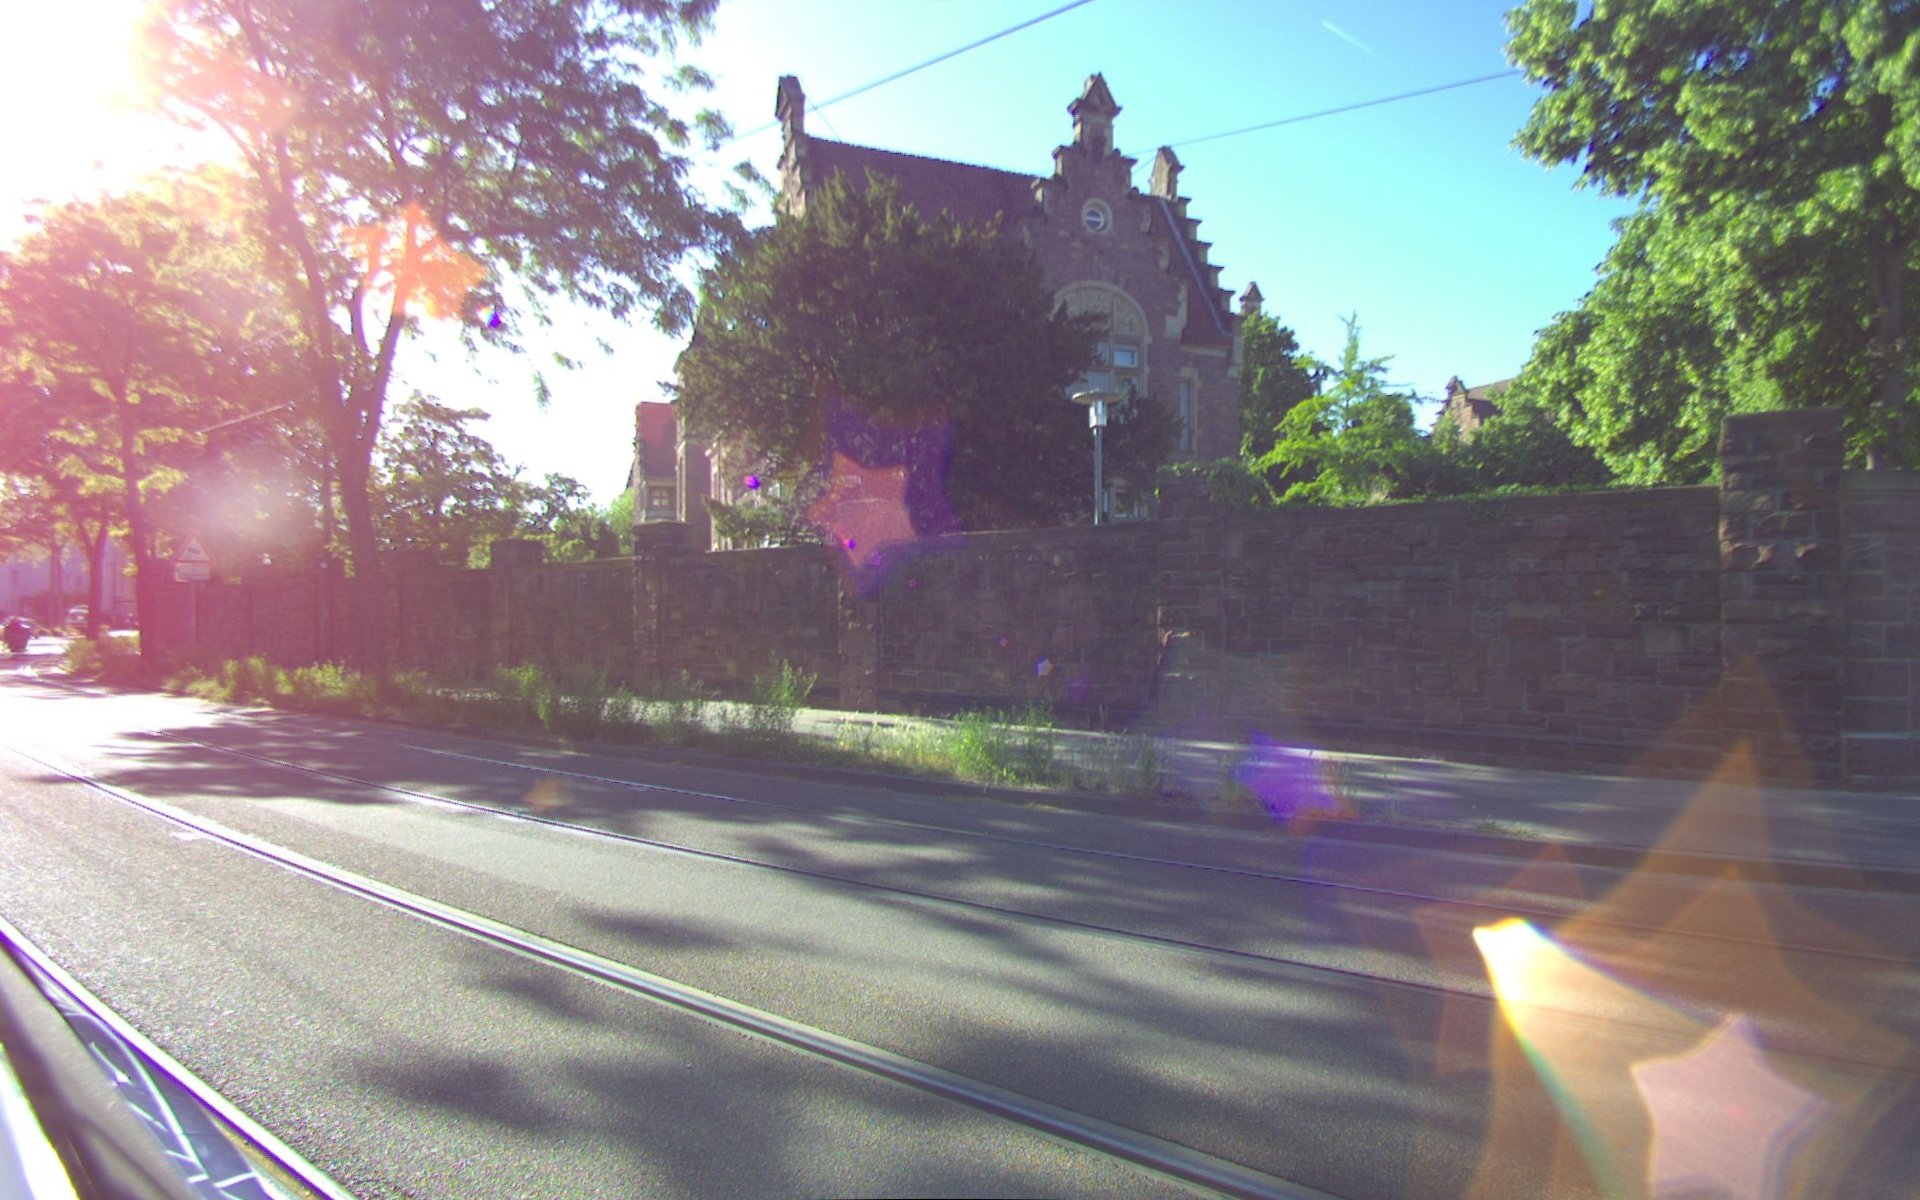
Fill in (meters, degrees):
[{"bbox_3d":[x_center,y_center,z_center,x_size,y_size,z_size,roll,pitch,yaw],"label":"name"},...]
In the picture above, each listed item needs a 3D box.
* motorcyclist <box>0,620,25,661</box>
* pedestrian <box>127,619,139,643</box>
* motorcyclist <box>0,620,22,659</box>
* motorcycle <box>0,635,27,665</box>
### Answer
[{"bbox_3d":[-35.192,1.496,37.557,0.464,1.527,0.602,-1,-1,33],"label":"motorcyclist"},{"bbox_3d":[-81.927,3.045,100.250,0.756,2.385,0.929,-1,0,-33],"label":"pedestrian"},{"bbox_3d":[-35.593,1.466,37.824,0.445,1.451,0.678,-1,-1,34],"label":"motorcyclist"},{"bbox_3d":[-35.511,1.849,37.766,1.851,1.101,0.604,-1,-1,33],"label":"motorcycle"}]
